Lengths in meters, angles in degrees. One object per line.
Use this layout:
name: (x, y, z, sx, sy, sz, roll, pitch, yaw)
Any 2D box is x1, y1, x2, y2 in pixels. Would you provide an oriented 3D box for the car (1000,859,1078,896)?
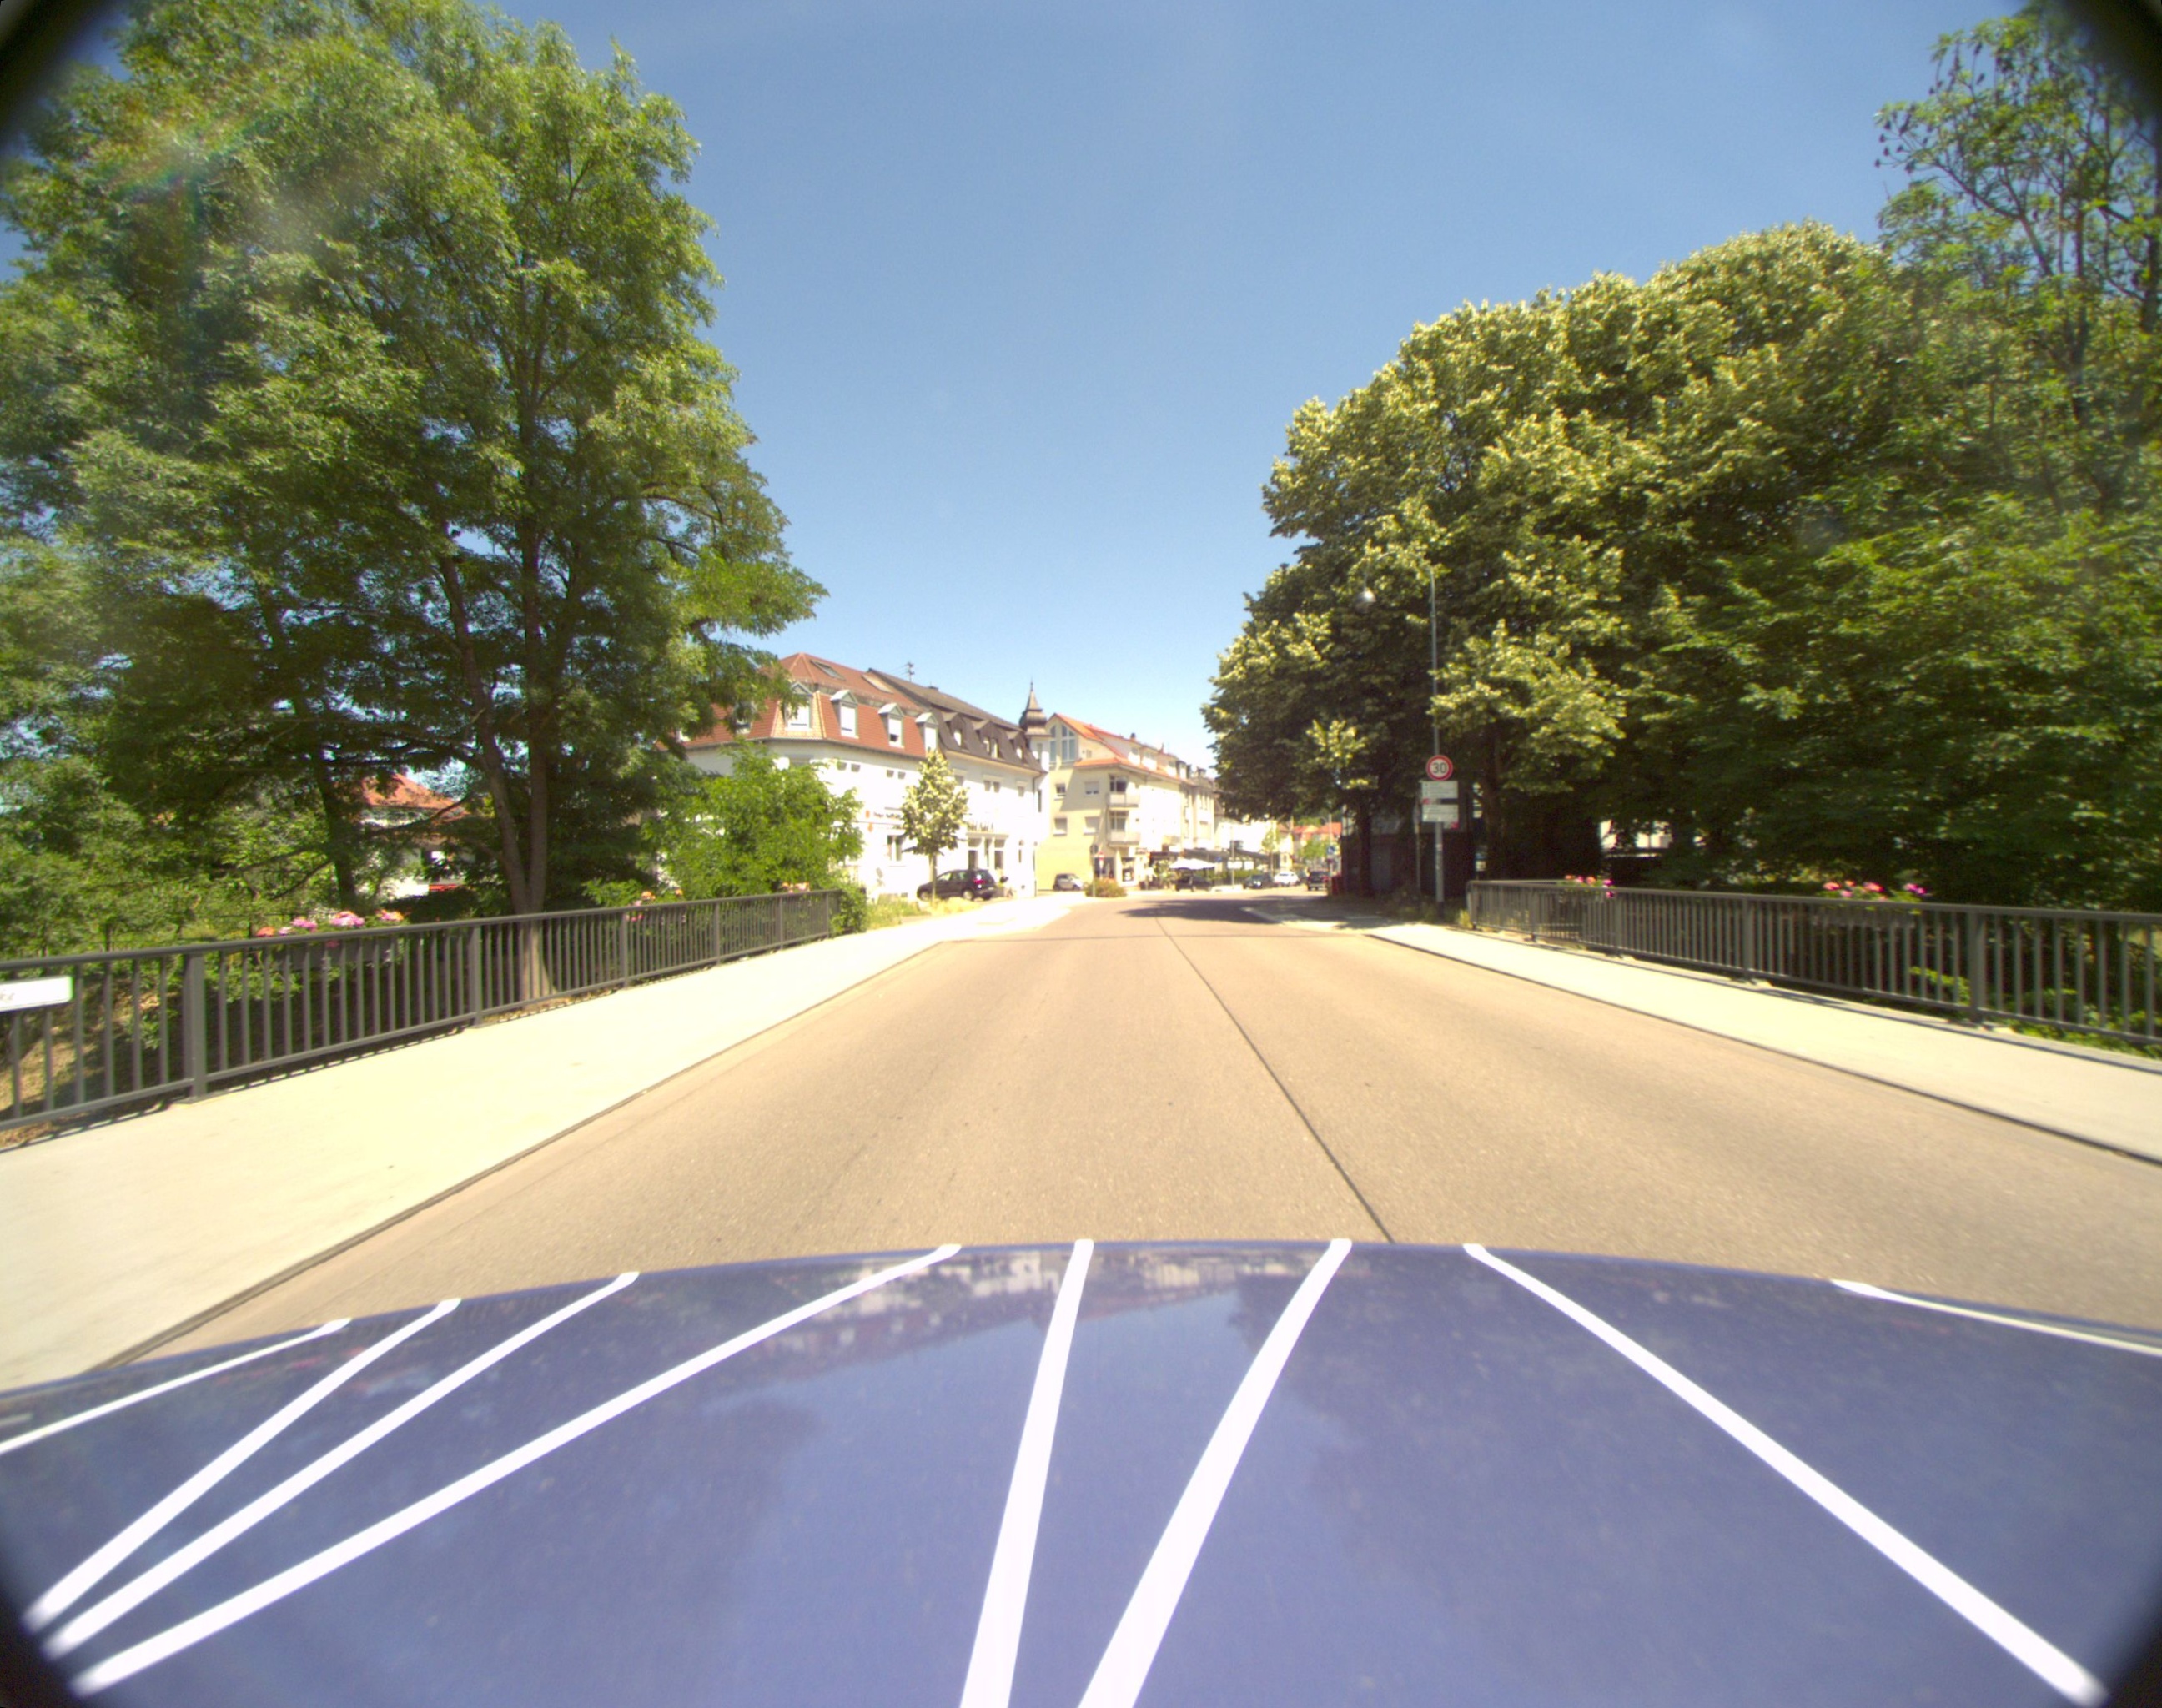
car: (-2.427, 1.357, 43.636, 3.990, 2.001, 2.004, -2, -2, 27)

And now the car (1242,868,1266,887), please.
car: (16.089, 2.196, 70.691, 1.997, 1.705, 4.005, 0, -2, 11)

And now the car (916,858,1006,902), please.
car: (-6.061, 1.305, 38.464, 3.990, 2.002, 2.003, -3, 0, 27)

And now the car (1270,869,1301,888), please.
car: (20.804, 2.475, 77.277, 1.995, 1.674, 4.007, -2, 0, 31)

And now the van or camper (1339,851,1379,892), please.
van or camper: (20.888, 1.261, 56.955, 1.995, 2.788, 5.046, -4, -1, 28)

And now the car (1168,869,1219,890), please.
car: (9.243, 2.089, 62.447, 4.009, 1.705, 1.994, 2, -2, -41)

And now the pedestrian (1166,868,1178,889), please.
pedestrian: (7.494, 2.008, 62.580, 0.814, 1.745, 0.636, 1, 2, 24)

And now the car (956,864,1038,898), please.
car: (-4.620, 1.495, 41.747, 3.990, 1.659, 2.004, -3, -2, 27)

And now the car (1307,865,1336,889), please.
car: (19.662, 1.877, 62.031, 1.995, 1.830, 4.007, -1, -2, 21)

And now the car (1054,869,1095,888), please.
car: (-0.553, 2.087, 63.926, 3.038, 1.444, 1.570, -3, 0, 23)
